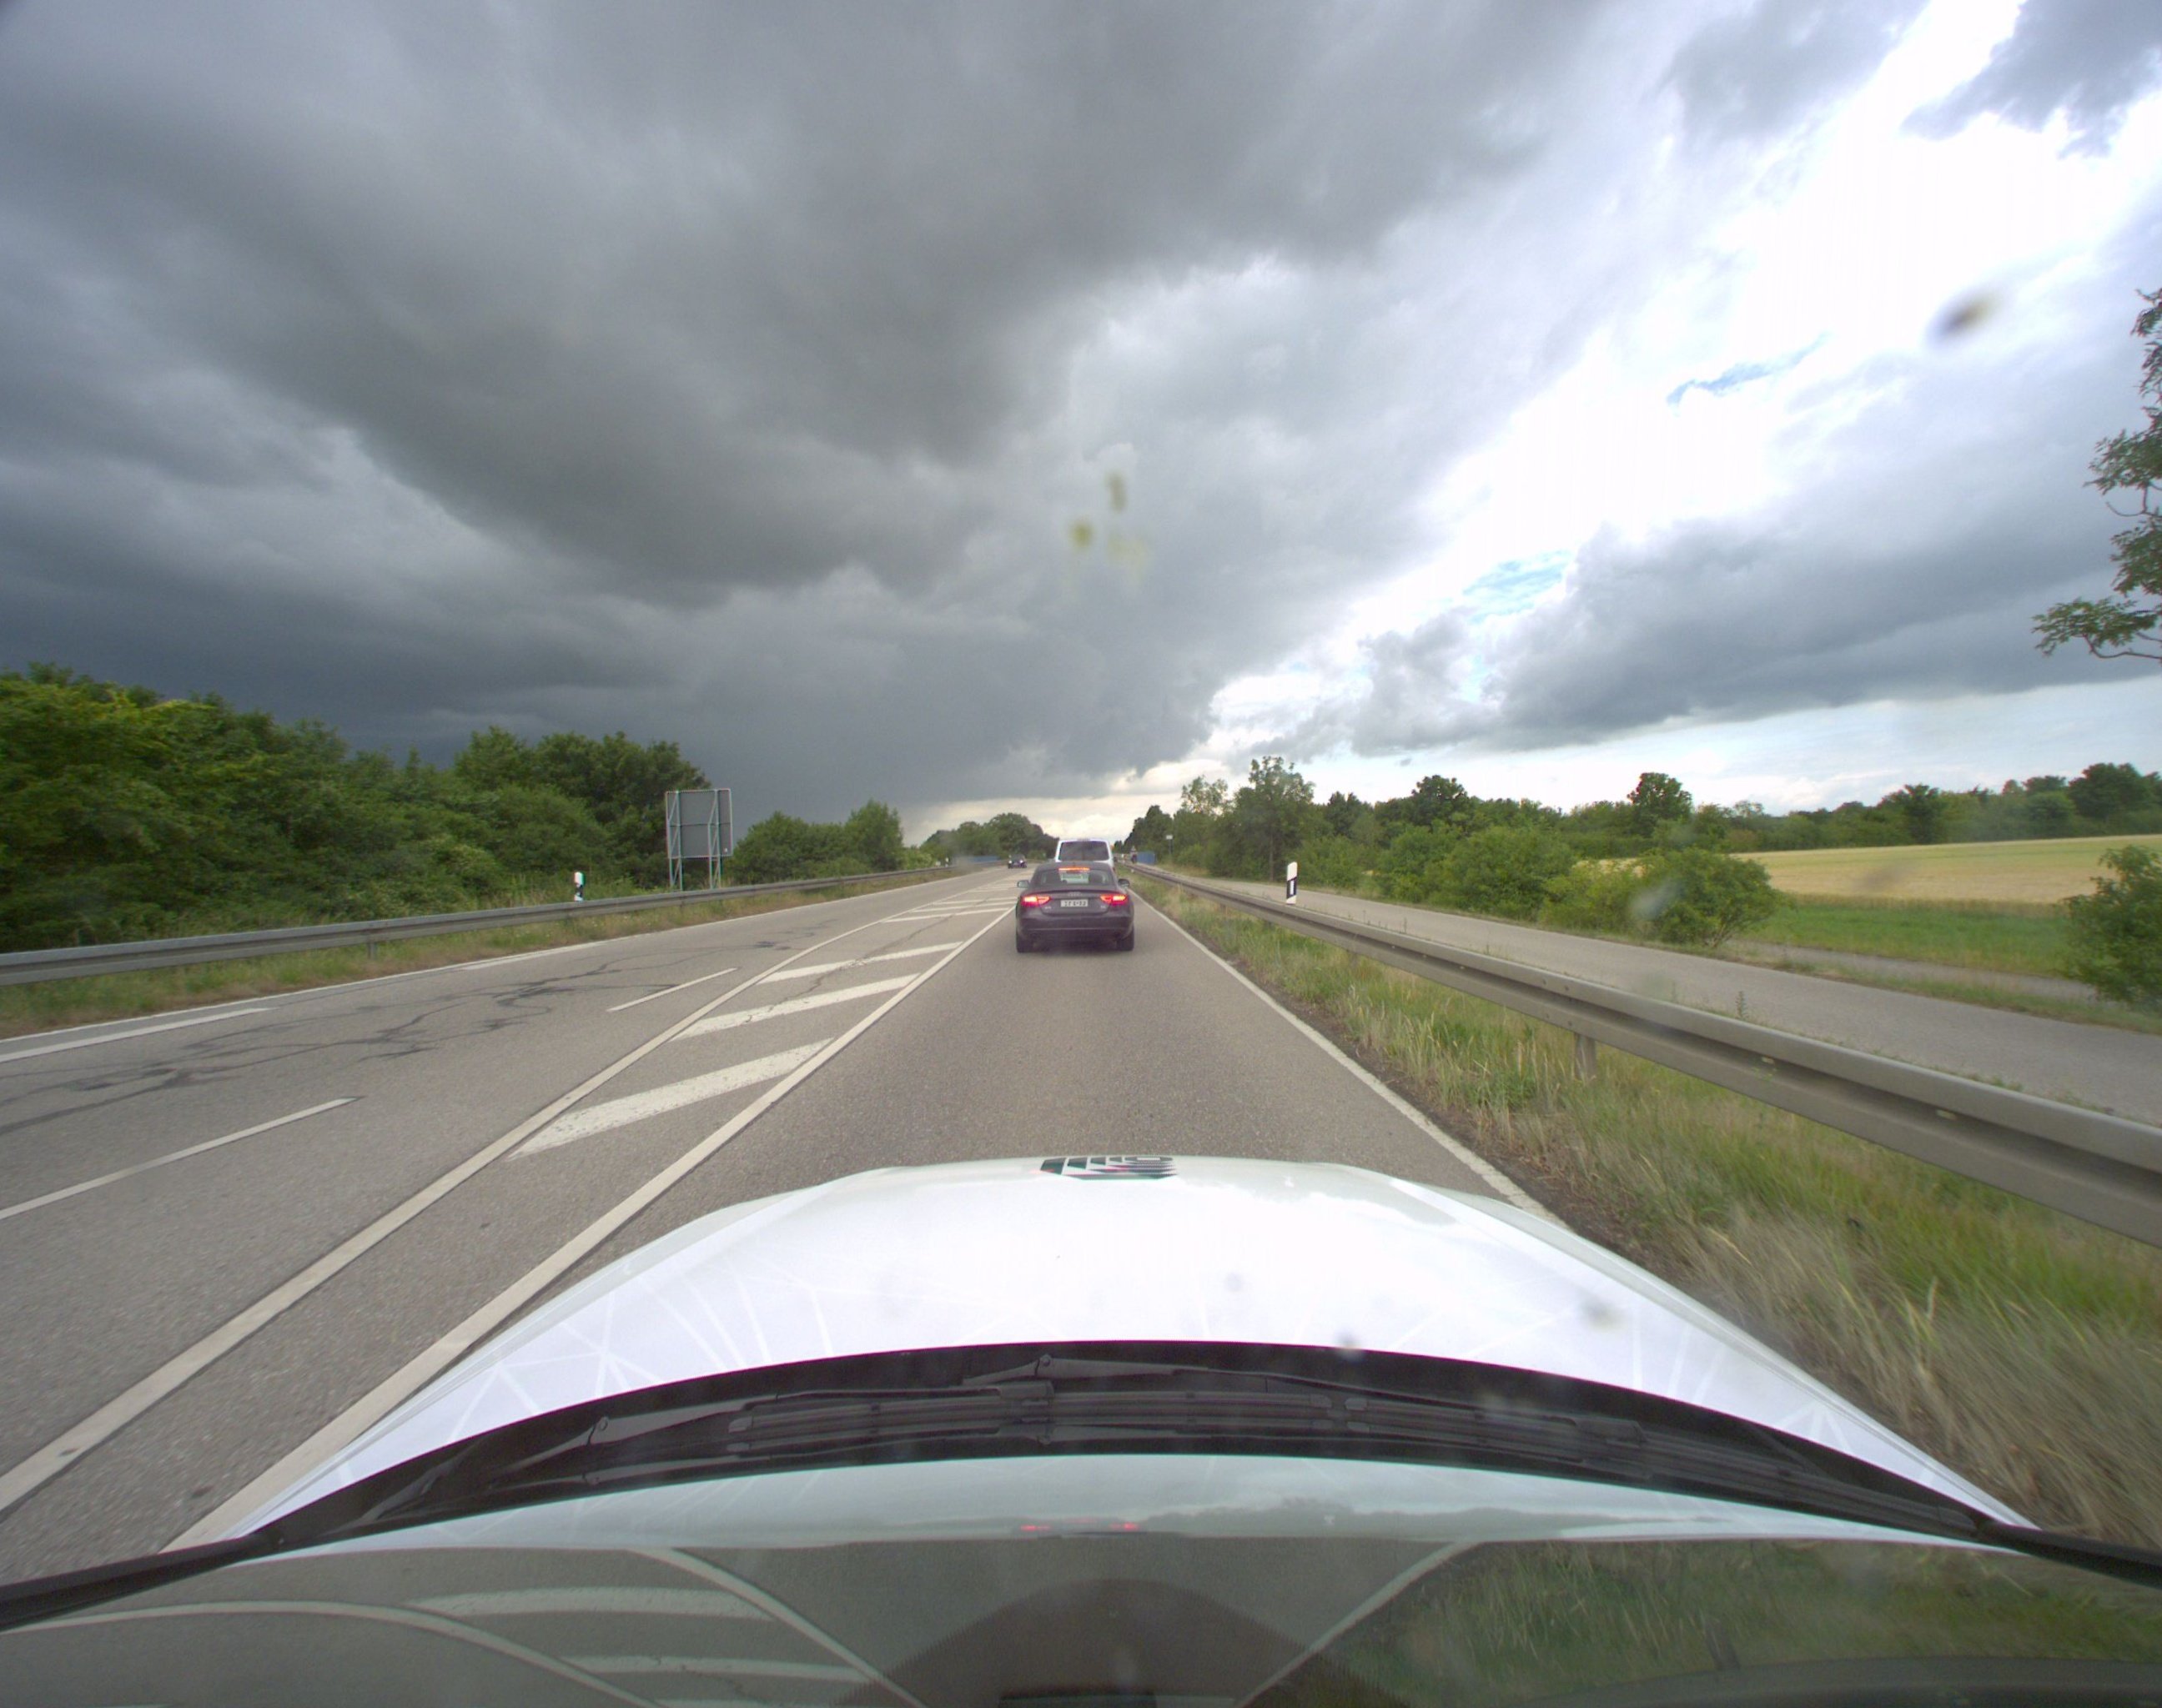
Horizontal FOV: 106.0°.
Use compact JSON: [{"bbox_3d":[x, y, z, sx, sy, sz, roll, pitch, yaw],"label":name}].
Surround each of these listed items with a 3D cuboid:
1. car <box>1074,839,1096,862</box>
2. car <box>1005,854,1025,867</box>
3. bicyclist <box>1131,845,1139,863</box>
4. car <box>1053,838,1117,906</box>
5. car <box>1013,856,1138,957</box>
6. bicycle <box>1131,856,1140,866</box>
[{"bbox_3d":[0.474,-0.362,92.060,2.439,2.504,5.041,-1,0,1],"label":"car"},{"bbox_3d":[-6.945,0.666,85.406,1.857,1.376,3.997,-1,0,-2],"label":"car"},{"bbox_3d":[4.976,0.004,74.873,0.645,1.645,0.866,-2,0,0],"label":"bicyclist"},{"bbox_3d":[0.129,0.535,24.952,1.780,1.890,3.999,-1,-1,0],"label":"car"},{"bbox_3d":[-0.072,0.772,13.651,1.780,1.424,3.999,-1,-1,0],"label":"car"},{"bbox_3d":[4.994,0.652,74.788,0.663,0.920,1.830,-2,0,0],"label":"bicycle"}]
